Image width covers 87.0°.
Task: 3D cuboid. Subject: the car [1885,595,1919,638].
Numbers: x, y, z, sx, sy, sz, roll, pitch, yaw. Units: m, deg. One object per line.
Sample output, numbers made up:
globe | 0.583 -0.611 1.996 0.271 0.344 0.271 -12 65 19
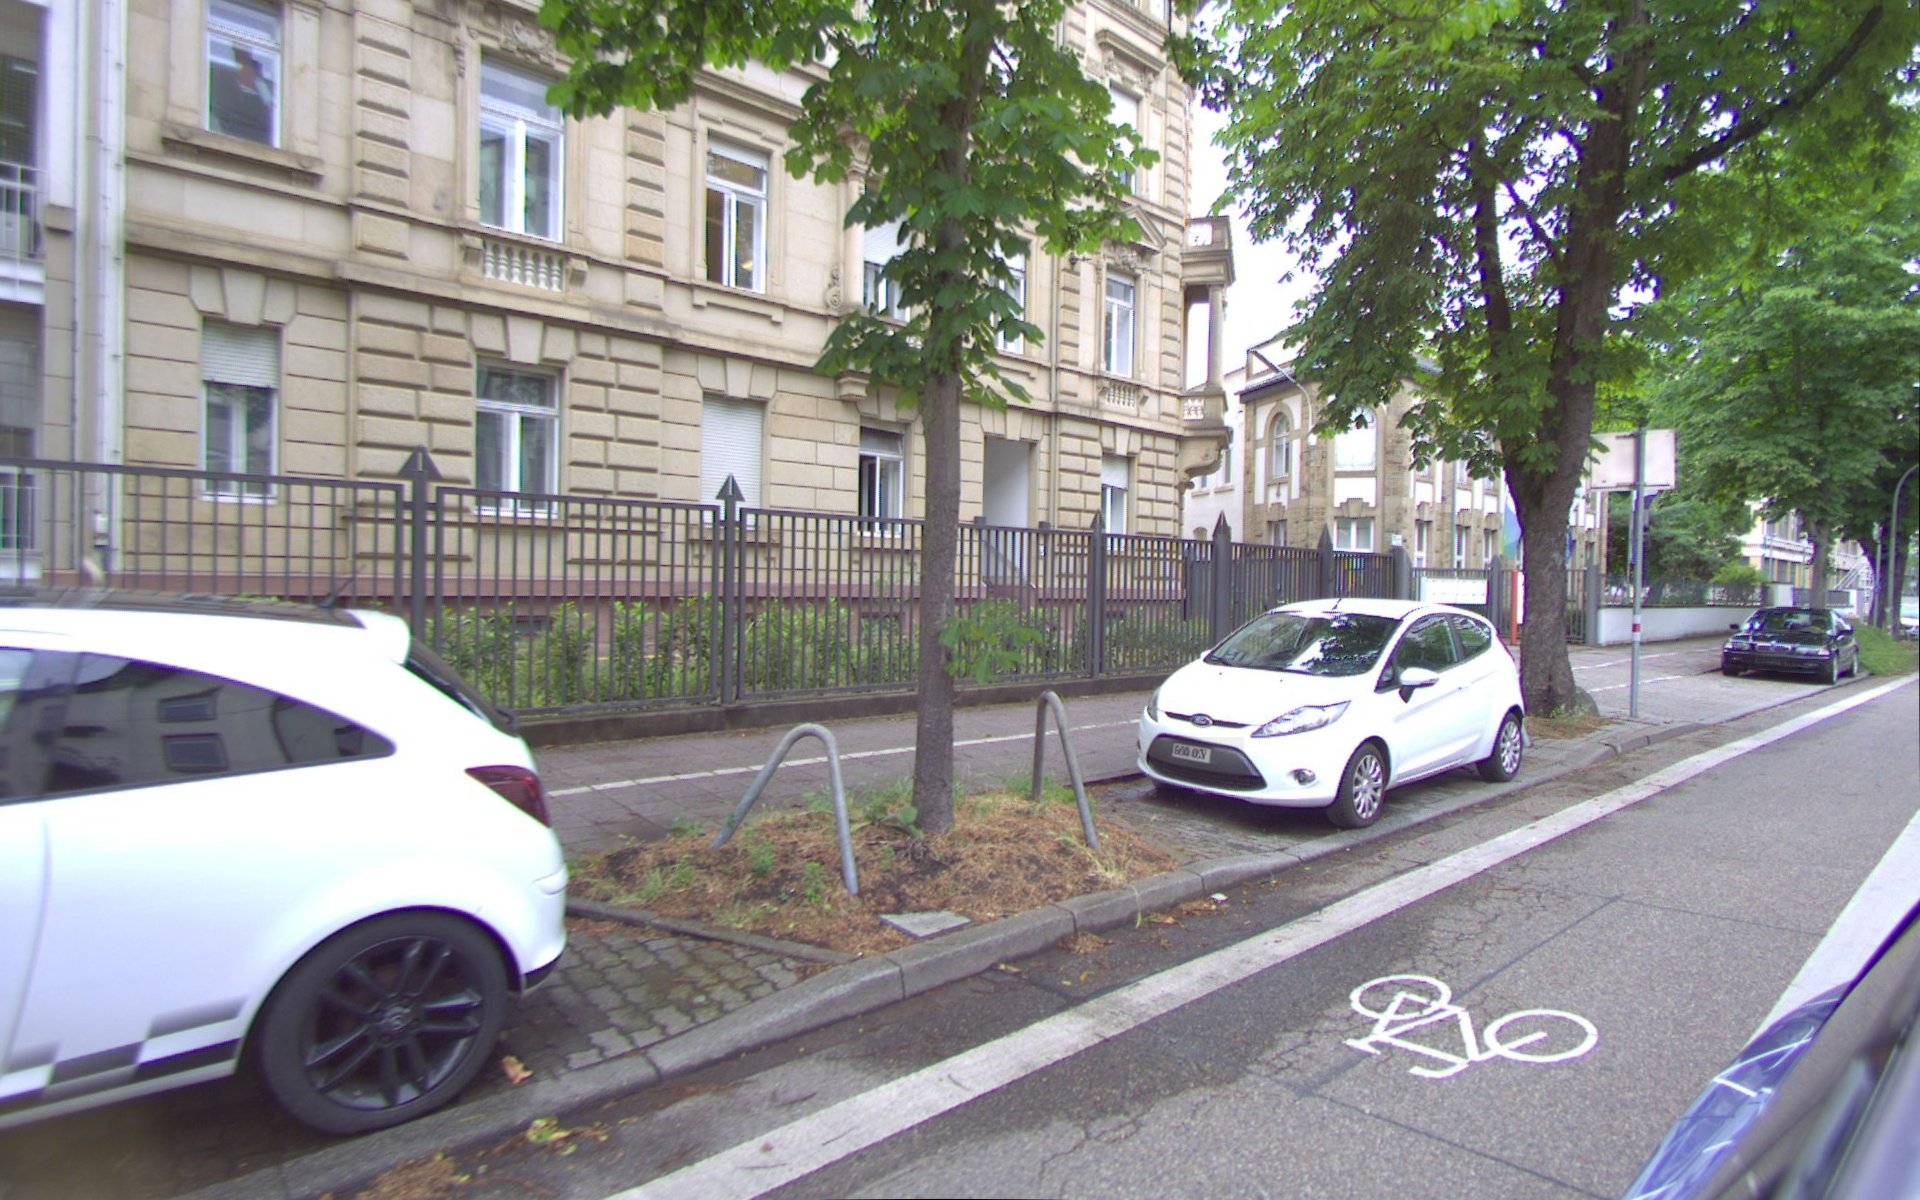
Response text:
car | 33.063 0.565 34.652 3.770 1.387 1.605 0 3 -41

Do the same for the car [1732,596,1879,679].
car | 16.658 0.665 19.889 3.770 1.387 1.605 0 3 -41

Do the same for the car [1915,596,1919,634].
car | 38.534 0.616 39.355 3.770 1.442 1.605 0 3 -41

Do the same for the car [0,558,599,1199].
car | -3.059 0.630 2.560 3.710 1.453 1.606 0 3 -40

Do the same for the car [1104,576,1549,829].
car | 2.978 0.594 7.879 3.699 1.453 1.631 0 3 -41
